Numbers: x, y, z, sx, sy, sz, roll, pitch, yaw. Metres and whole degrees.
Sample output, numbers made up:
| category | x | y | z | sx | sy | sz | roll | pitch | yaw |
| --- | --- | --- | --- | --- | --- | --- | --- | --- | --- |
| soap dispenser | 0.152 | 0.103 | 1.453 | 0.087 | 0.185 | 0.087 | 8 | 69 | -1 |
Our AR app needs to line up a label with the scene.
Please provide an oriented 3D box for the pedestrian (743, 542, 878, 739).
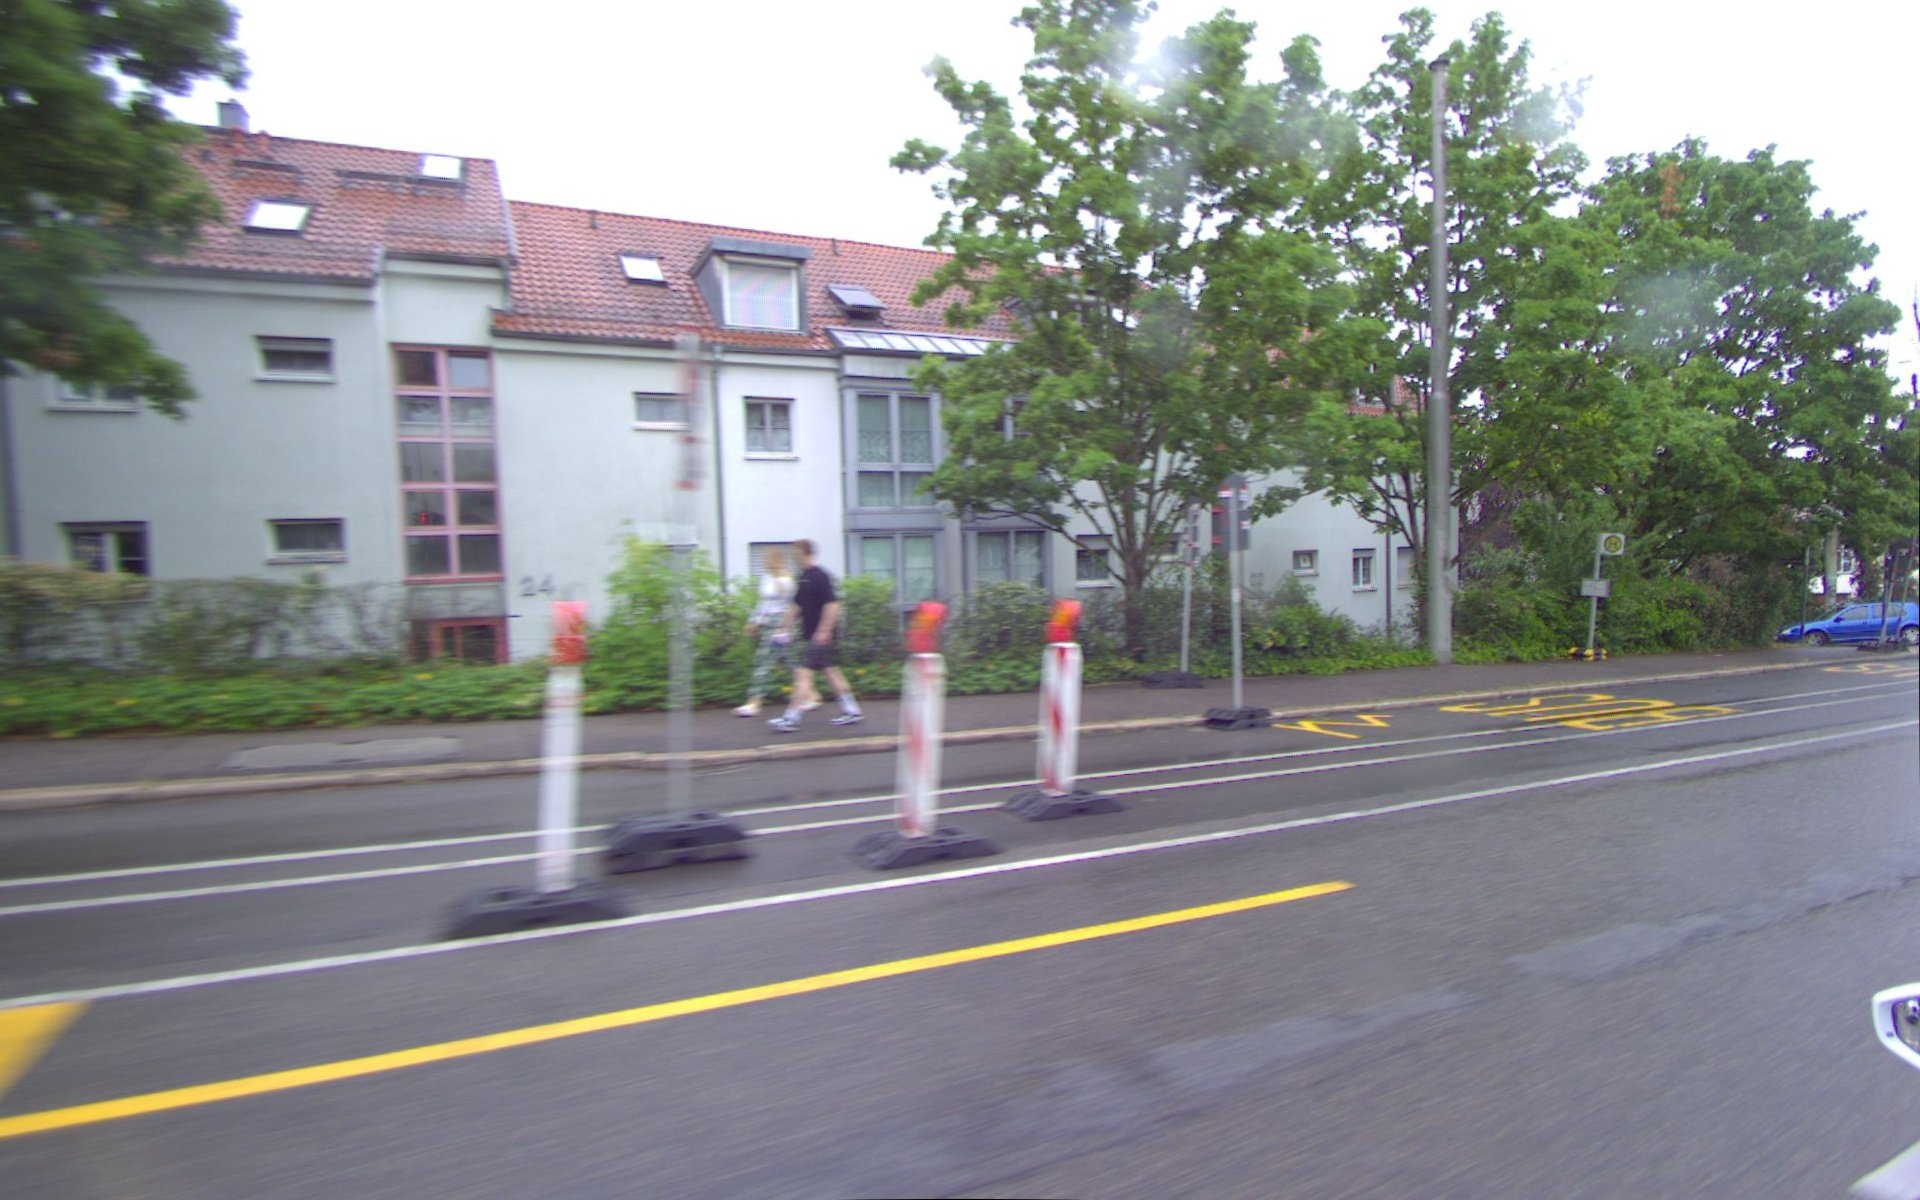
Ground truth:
| category | x | y | z | sx | sy | sz | roll | pitch | yaw |
| --- | --- | --- | --- | --- | --- | --- | --- | --- | --- |
| pedestrian | -1.485 | 0.361 | 9.958 | 1.134 | 1.841 | 0.703 | -1 | 3 | -32 |

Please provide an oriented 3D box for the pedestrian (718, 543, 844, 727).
| category | x | y | z | sx | sy | sz | roll | pitch | yaw |
| --- | --- | --- | --- | --- | --- | --- | --- | --- | --- |
| pedestrian | -1.892 | 0.330 | 10.613 | 1.142 | 1.841 | 0.677 | -1 | 3 | -32 |

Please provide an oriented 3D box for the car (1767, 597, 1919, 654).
| category | x | y | z | sx | sy | sz | roll | pitch | yaw |
| --- | --- | --- | --- | --- | --- | --- | --- | --- | --- |
| car | 29.879 | 0.820 | 33.764 | 3.866 | 1.688 | 1.841 | 3 | 1 | 23 |
